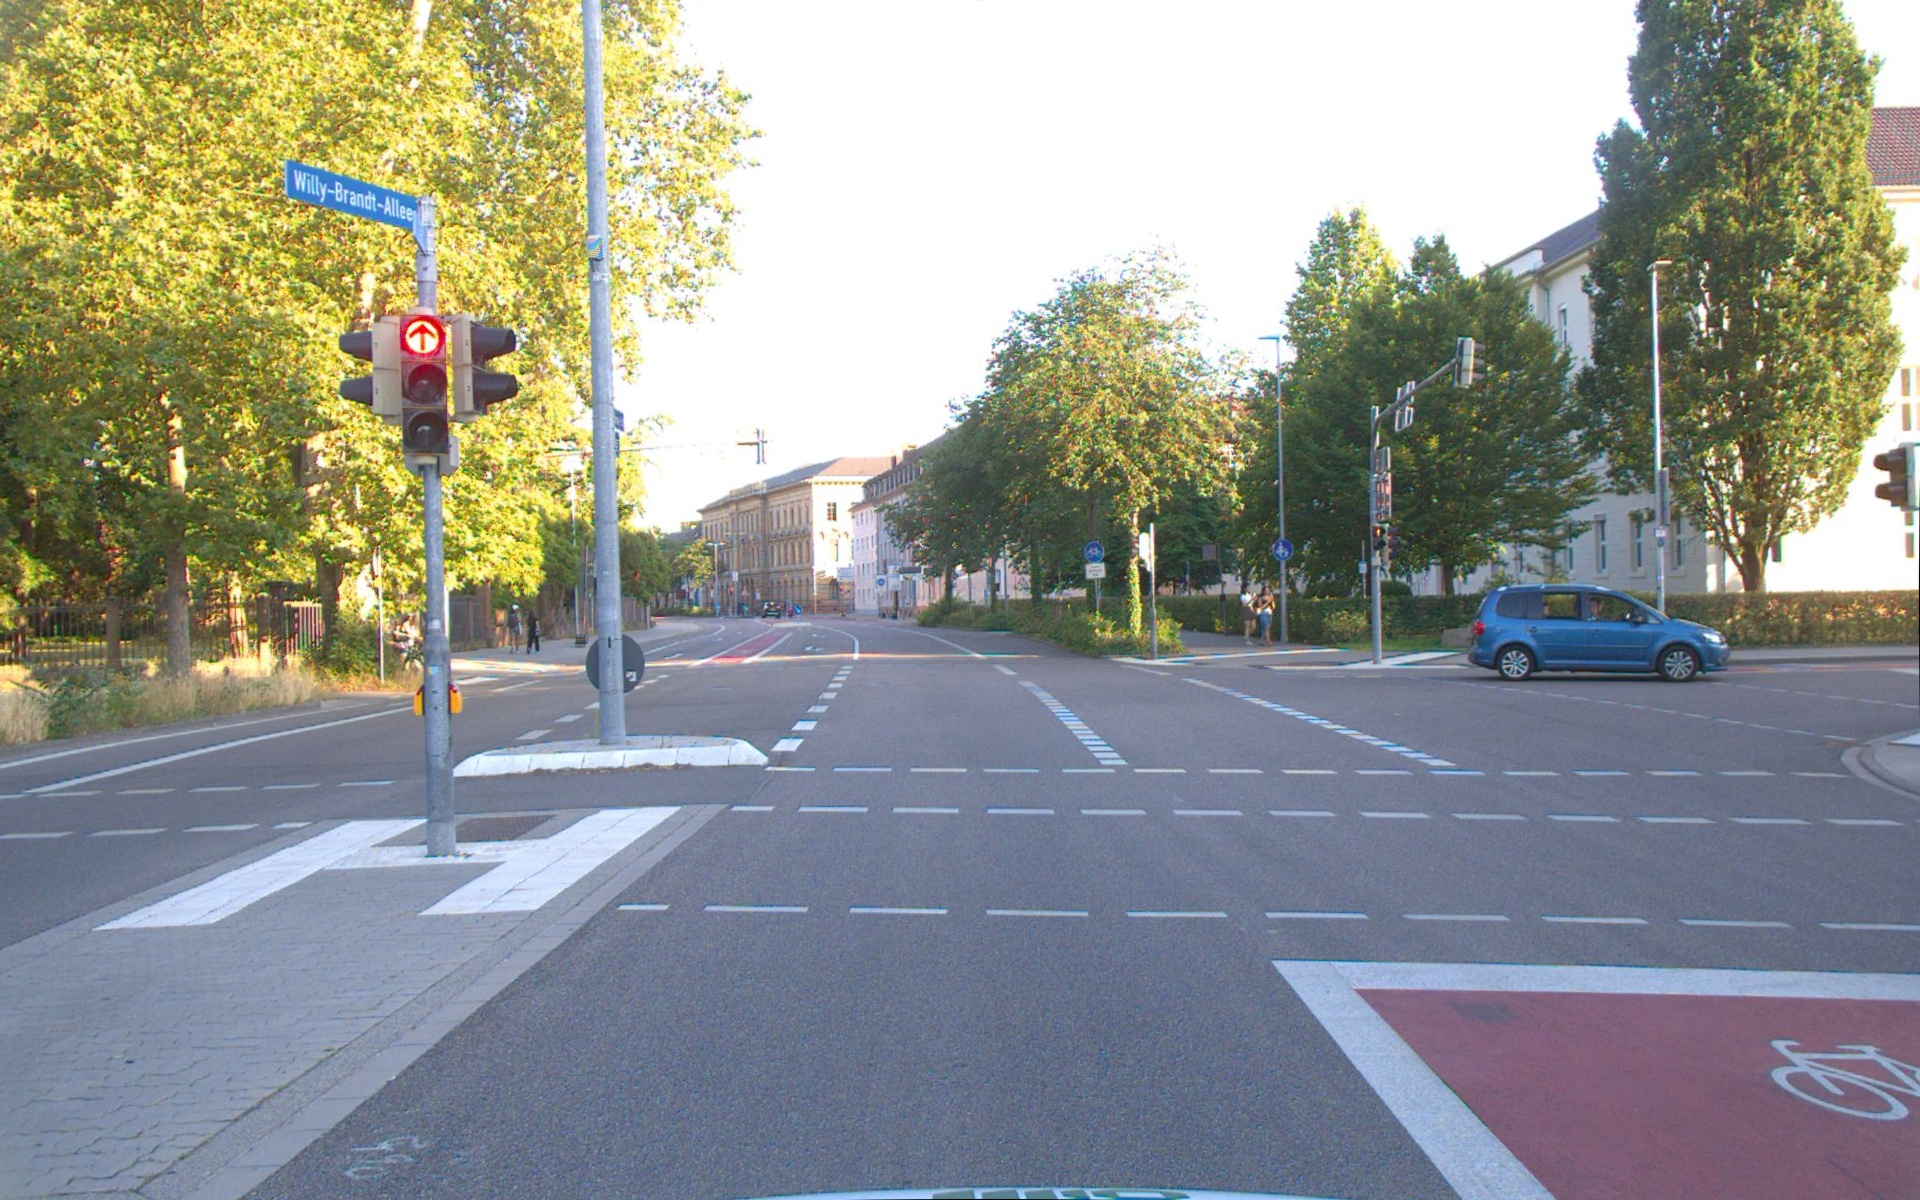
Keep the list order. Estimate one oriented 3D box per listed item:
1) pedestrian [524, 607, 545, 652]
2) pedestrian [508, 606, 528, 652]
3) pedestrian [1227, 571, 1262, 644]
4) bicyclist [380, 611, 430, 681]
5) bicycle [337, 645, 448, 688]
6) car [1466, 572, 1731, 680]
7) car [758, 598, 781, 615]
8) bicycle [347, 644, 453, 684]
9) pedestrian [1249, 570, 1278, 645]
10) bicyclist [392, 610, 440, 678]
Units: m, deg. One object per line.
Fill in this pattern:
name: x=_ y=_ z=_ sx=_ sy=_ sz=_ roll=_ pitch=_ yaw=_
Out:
pedestrian: x=-15.454 y=1.057 z=60.064 sx=0.587 sy=1.601 sz=0.646 roll=-1 pitch=0 yaw=-1
pedestrian: x=-16.074 y=1.051 z=60.153 sx=0.524 sy=1.624 sz=0.590 roll=-1 pitch=0 yaw=-1
pedestrian: x=8.105 y=0.217 z=47.081 sx=0.852 sy=2.049 sz=0.722 roll=0 pitch=0 yaw=-1
bicyclist: x=-13.440 y=1.102 z=40.061 sx=0.938 sy=1.659 sz=0.752 roll=-1 pitch=0 yaw=0
bicycle: x=-13.734 y=1.606 z=40.055 sx=2.380 sy=0.940 sz=0.775 roll=-1 pitch=0 yaw=0
car: x=11.127 y=0.445 z=29.060 sx=4.192 sy=1.750 sz=1.857 roll=-1 pitch=2 yaw=19
car: x=-19.519 y=0.645 z=169.400 sx=1.789 sy=1.616 sz=3.984 roll=-2 pitch=0 yaw=-15
bicycle: x=-14.154 y=1.612 z=41.819 sx=2.380 sy=0.940 sz=0.775 roll=-1 pitch=0 yaw=0
pedestrian: x=8.421 y=0.209 z=45.858 sx=0.622 sy=2.049 sz=0.720 roll=0 pitch=0 yaw=-5
bicyclist: x=-13.755 y=1.104 z=41.836 sx=0.938 sy=1.659 sz=0.752 roll=-1 pitch=0 yaw=0
